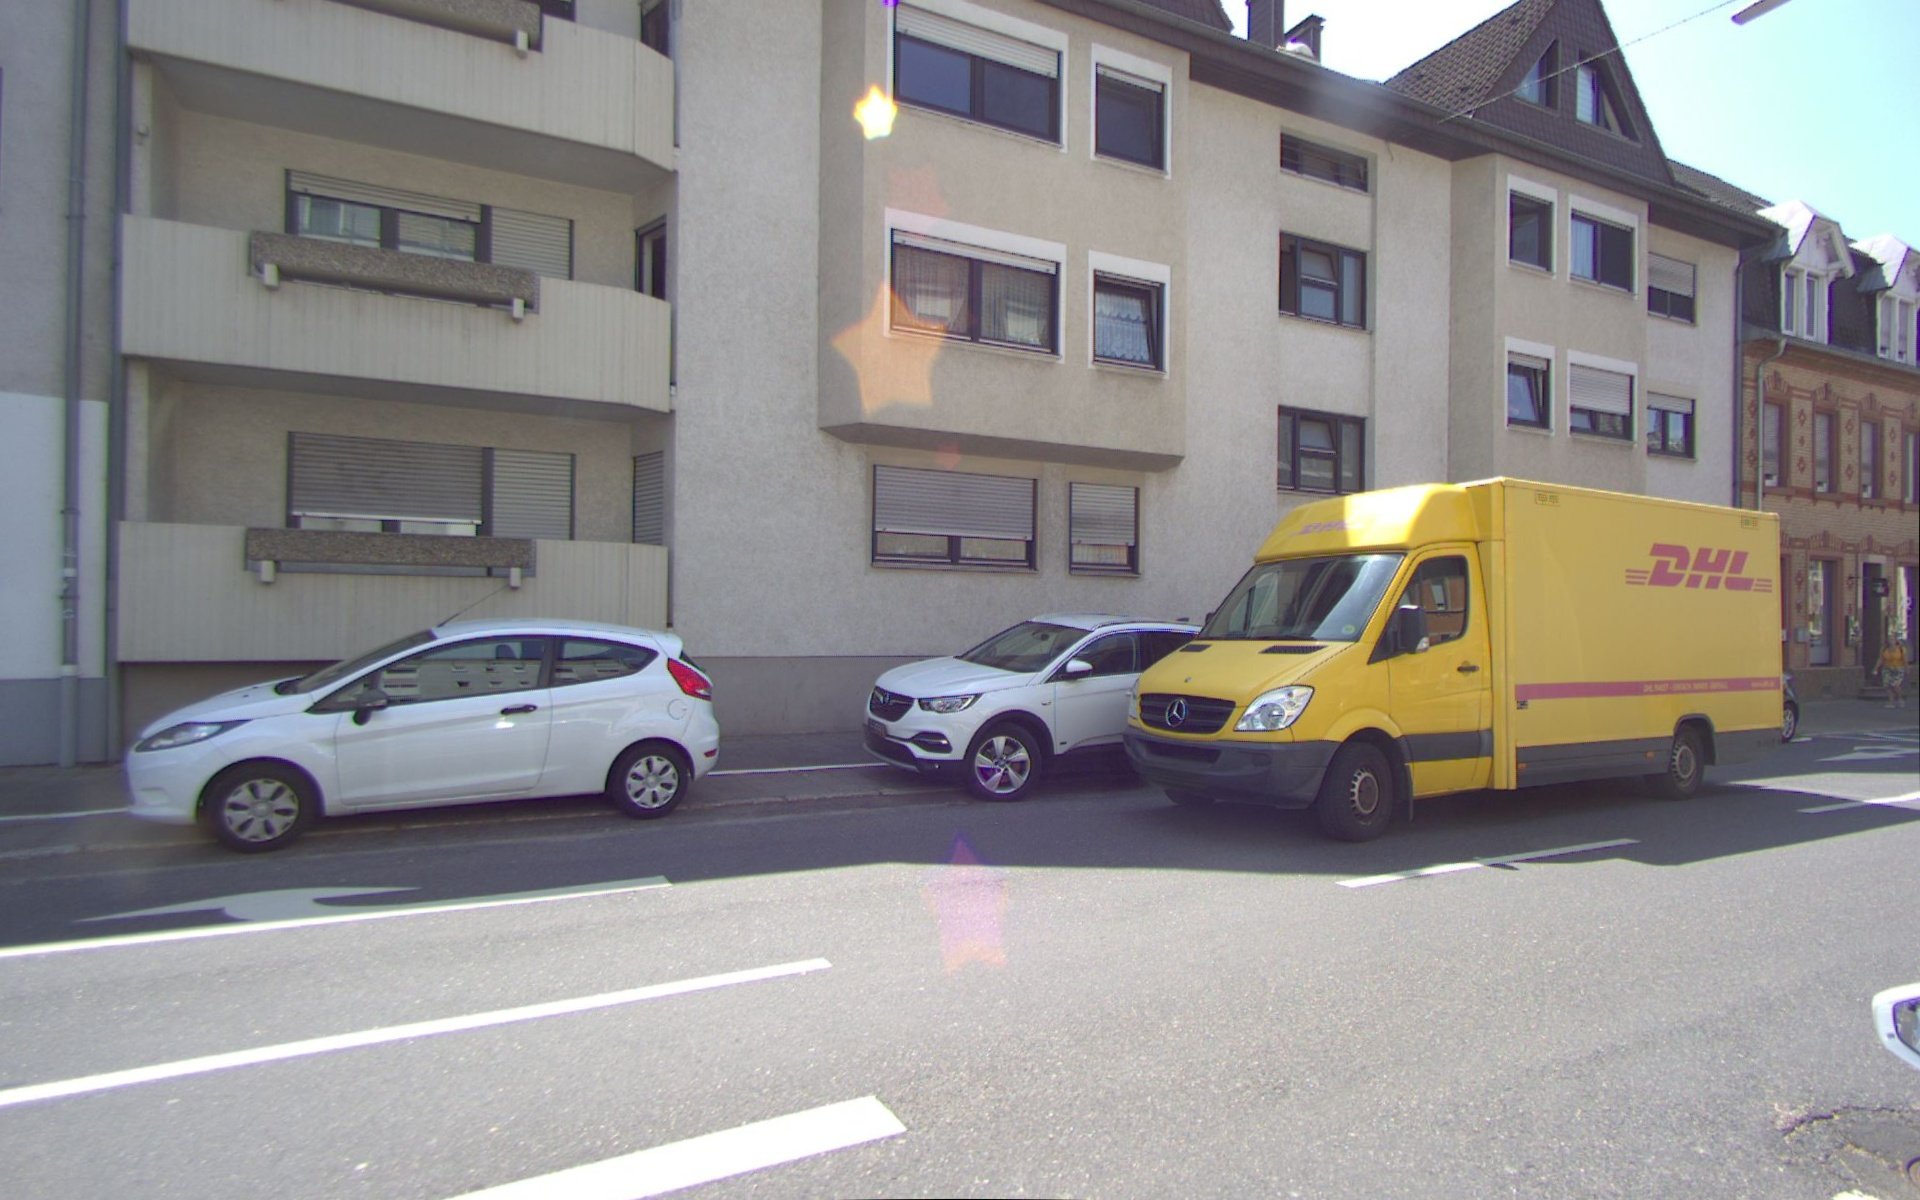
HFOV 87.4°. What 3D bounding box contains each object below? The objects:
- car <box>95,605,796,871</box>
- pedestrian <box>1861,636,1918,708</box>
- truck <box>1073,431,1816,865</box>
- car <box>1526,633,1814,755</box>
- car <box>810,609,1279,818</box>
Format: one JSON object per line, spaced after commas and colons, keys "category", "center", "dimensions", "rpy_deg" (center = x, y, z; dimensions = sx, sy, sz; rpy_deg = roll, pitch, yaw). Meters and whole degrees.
{"category": "car", "center": [-3.664, 0.890, 7.825], "dimensions": [4.335, 1.509, 1.831], "rpy_deg": [2, 1, -30]}
{"category": "pedestrian", "center": [20.455, 1.565, 22.106], "dimensions": [0.958, 1.515, 0.606], "rpy_deg": [1, 0, -27]}
{"category": "truck", "center": [4.746, 0.440, 9.267], "dimensions": [7.469, 2.807, 2.217], "rpy_deg": [2, -3, -28]}
{"category": "car", "center": [10.799, 1.345, 15.210], "dimensions": [4.449, 1.508, 1.831], "rpy_deg": [2, 1, -30]}
{"category": "car", "center": [0.903, 0.987, 9.948], "dimensions": [4.335, 1.617, 1.831], "rpy_deg": [2, 1, -30]}
